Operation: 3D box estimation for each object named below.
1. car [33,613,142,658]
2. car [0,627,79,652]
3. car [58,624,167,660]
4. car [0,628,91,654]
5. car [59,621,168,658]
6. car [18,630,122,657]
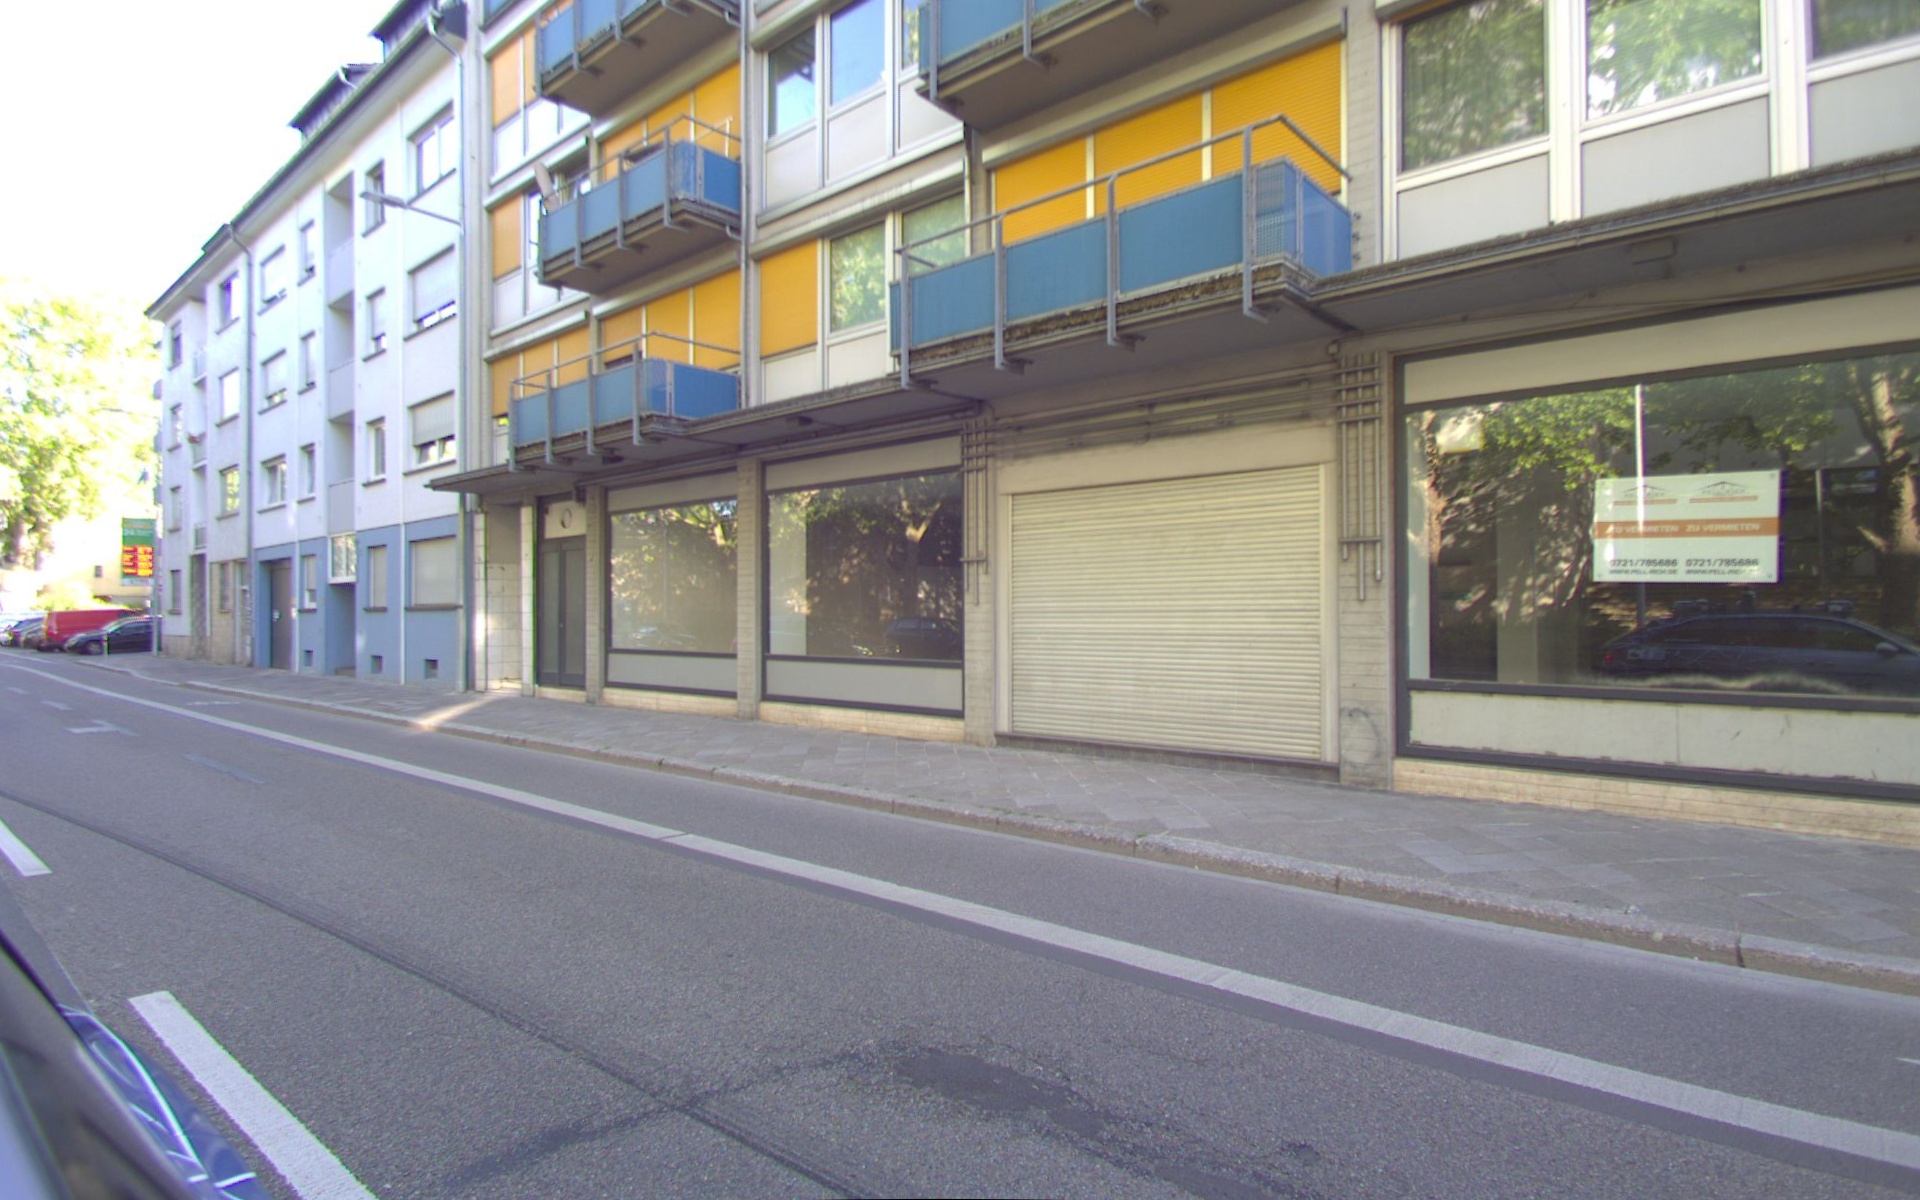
[{"bbox_3d":[-40.654,1.636,47.230,1.488,1.923,3.642,-4,-2,39],"label":"car"},{"bbox_3d":[-52.262,2.237,57.511,1.345,1.254,3.228,-1,0,43],"label":"car"},{"bbox_3d":[-36.678,1.799,43.850,1.490,1.398,3.462,-1,0,43],"label":"car"},{"bbox_3d":[-50.448,2.229,55.882,1.345,1.254,3.638,-1,0,43],"label":"car"},{"bbox_3d":[-38.195,1.757,45.730,1.490,1.523,3.638,-1,0,43],"label":"car"},{"bbox_3d":[-42.816,2.062,48.744,1.345,1.137,3.638,-1,0,43],"label":"car"}]
